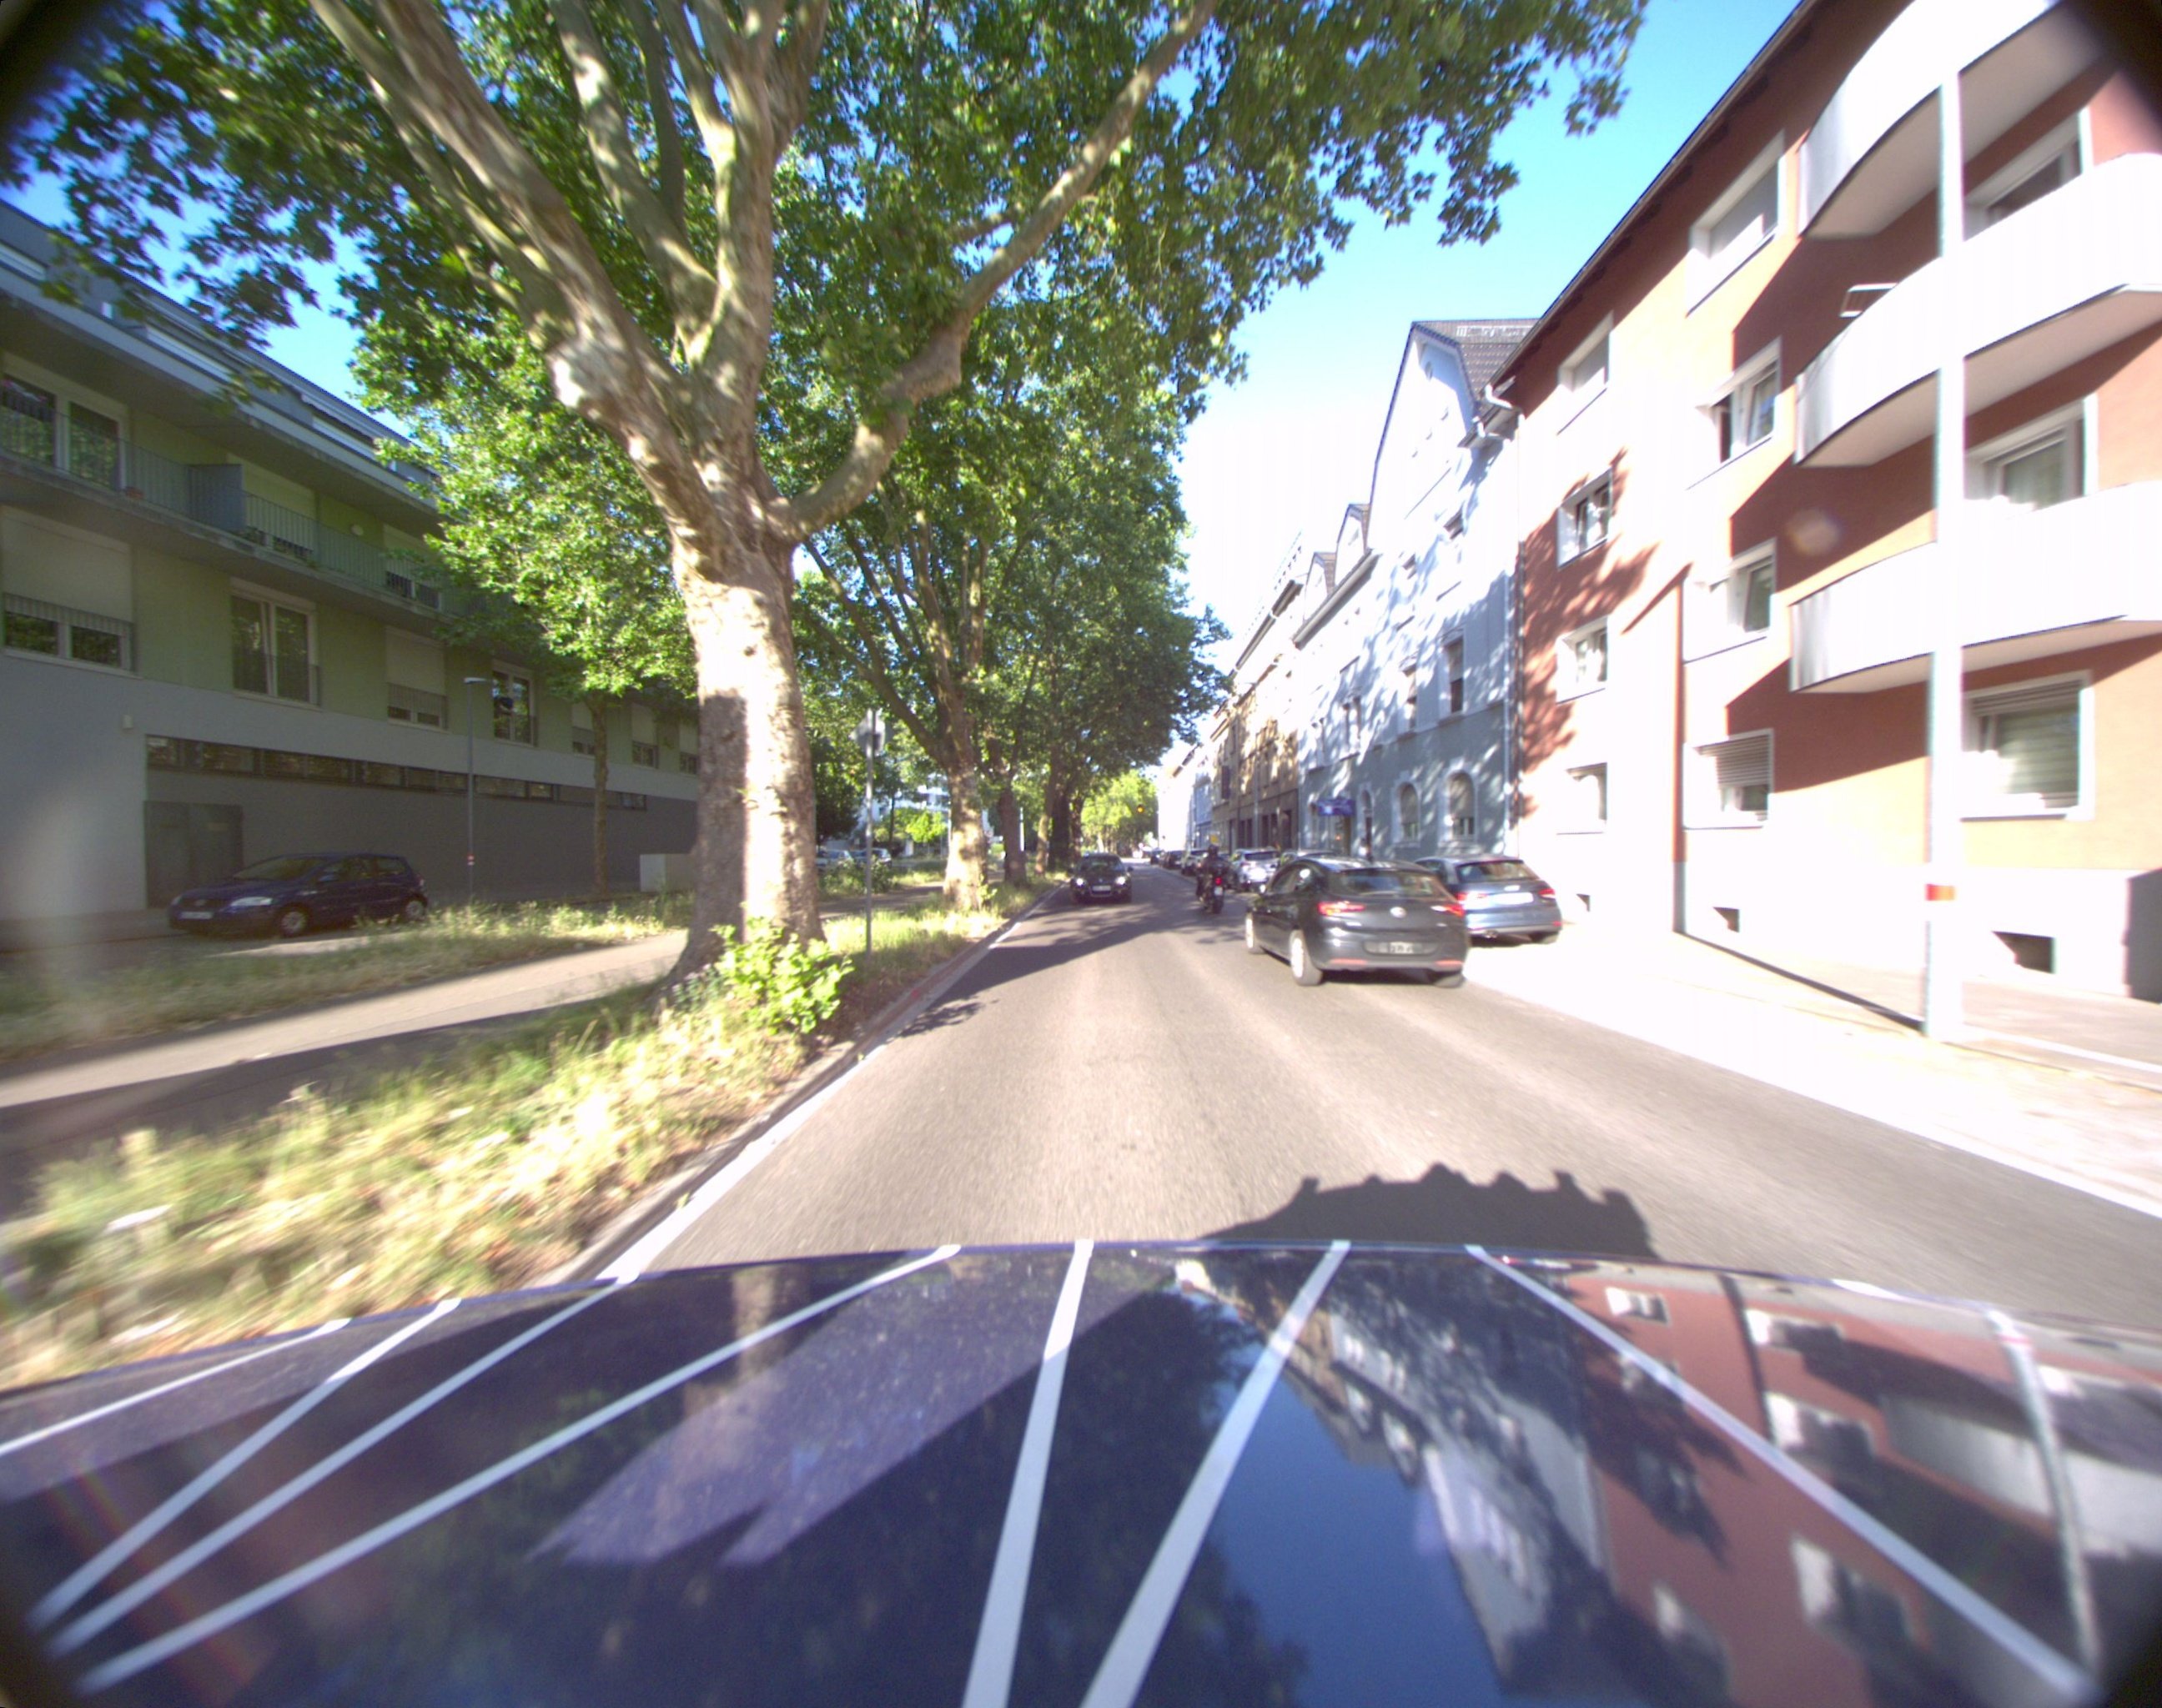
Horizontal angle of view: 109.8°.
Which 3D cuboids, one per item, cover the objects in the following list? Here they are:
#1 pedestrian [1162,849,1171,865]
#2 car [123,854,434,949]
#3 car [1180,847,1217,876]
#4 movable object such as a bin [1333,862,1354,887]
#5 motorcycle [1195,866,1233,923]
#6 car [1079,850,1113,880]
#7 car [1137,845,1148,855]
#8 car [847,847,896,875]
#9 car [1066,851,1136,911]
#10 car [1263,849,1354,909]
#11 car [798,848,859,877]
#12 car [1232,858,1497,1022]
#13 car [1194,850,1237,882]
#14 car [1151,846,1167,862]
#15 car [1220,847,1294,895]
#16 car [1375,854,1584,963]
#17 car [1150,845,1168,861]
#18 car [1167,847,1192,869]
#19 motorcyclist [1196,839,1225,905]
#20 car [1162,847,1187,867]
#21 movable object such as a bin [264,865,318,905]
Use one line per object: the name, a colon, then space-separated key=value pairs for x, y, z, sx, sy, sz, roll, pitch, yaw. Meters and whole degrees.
pedestrian: x=8.037 y=0.271 z=71.433 sx=0.865 sy=1.561 sz=0.706 roll=0 pitch=1 yaw=5
car: x=-14.916 y=0.783 z=14.484 sx=1.863 sy=1.544 sz=3.759 roll=0 pitch=1 yaw=2
car: x=7.016 y=0.420 z=45.749 sx=1.682 sy=1.575 sz=4.200 roll=-2 pitch=0 yaw=3
movable object such as a bin: x=9.799 y=0.757 z=28.349 sx=0.558 sy=0.941 sz=0.669 roll=0 pitch=1 yaw=2
motorcycle: x=3.260 y=0.955 z=18.787 sx=0.548 sy=1.234 sz=2.264 roll=2 pitch=1 yaw=1
car: x=0.782 y=0.538 z=38.440 sx=1.654 sy=1.445 sz=3.535 roll=0 pitch=0 yaw=2
car: x=11.324 y=-0.702 z=139.897 sx=1.897 sy=1.782 sz=4.001 roll=0 pitch=1 yaw=4
car: x=-13.738 y=0.414 z=50.101 sx=1.909 sy=1.761 sz=4.320 roll=0 pitch=1 yaw=2
car: x=0.633 y=0.710 z=22.791 sx=1.844 sy=1.536 sz=4.524 roll=-2 pitch=0 yaw=3
car: x=6.839 y=0.682 z=23.218 sx=1.682 sy=1.632 sz=3.985 roll=-2 pitch=0 yaw=3
car: x=-14.145 y=0.437 z=42.811 sx=1.863 sy=1.534 sz=4.320 roll=0 pitch=1 yaw=2
car: x=3.174 y=0.849 z=9.528 sx=1.775 sy=1.470 sz=4.322 roll=-2 pitch=0 yaw=2
car: x=6.986 y=0.594 z=39.721 sx=1.682 sy=1.488 sz=3.872 roll=-2 pitch=0 yaw=3
car: x=9.256 y=0.014 z=90.409 sx=1.668 sy=1.808 sz=4.005 roll=-2 pitch=1 yaw=4
car: x=6.624 y=0.591 z=29.129 sx=1.912 sy=1.632 sz=4.577 roll=-2 pitch=0 yaw=3
car: x=6.395 y=0.784 z=12.659 sx=1.682 sy=1.478 sz=3.601 roll=-2 pitch=0 yaw=3
car: x=8.699 y=-0.145 z=84.794 sx=1.910 sy=1.663 sz=4.494 roll=-2 pitch=0 yaw=6
car: x=7.796 y=0.282 z=60.352 sx=1.681 sy=1.595 sz=3.706 roll=-2 pitch=1 yaw=5
motorcyclist: x=3.234 y=0.441 z=18.974 sx=0.587 sy=1.596 sz=0.831 roll=0 pitch=1 yaw=1
car: x=8.017 y=0.243 z=65.623 sx=1.785 sy=1.663 sz=4.156 roll=-2 pitch=0 yaw=3
movable object such as a bin: x=-19.534 y=0.759 z=18.800 sx=0.630 sy=0.937 sz=0.663 roll=0 pitch=1 yaw=2
